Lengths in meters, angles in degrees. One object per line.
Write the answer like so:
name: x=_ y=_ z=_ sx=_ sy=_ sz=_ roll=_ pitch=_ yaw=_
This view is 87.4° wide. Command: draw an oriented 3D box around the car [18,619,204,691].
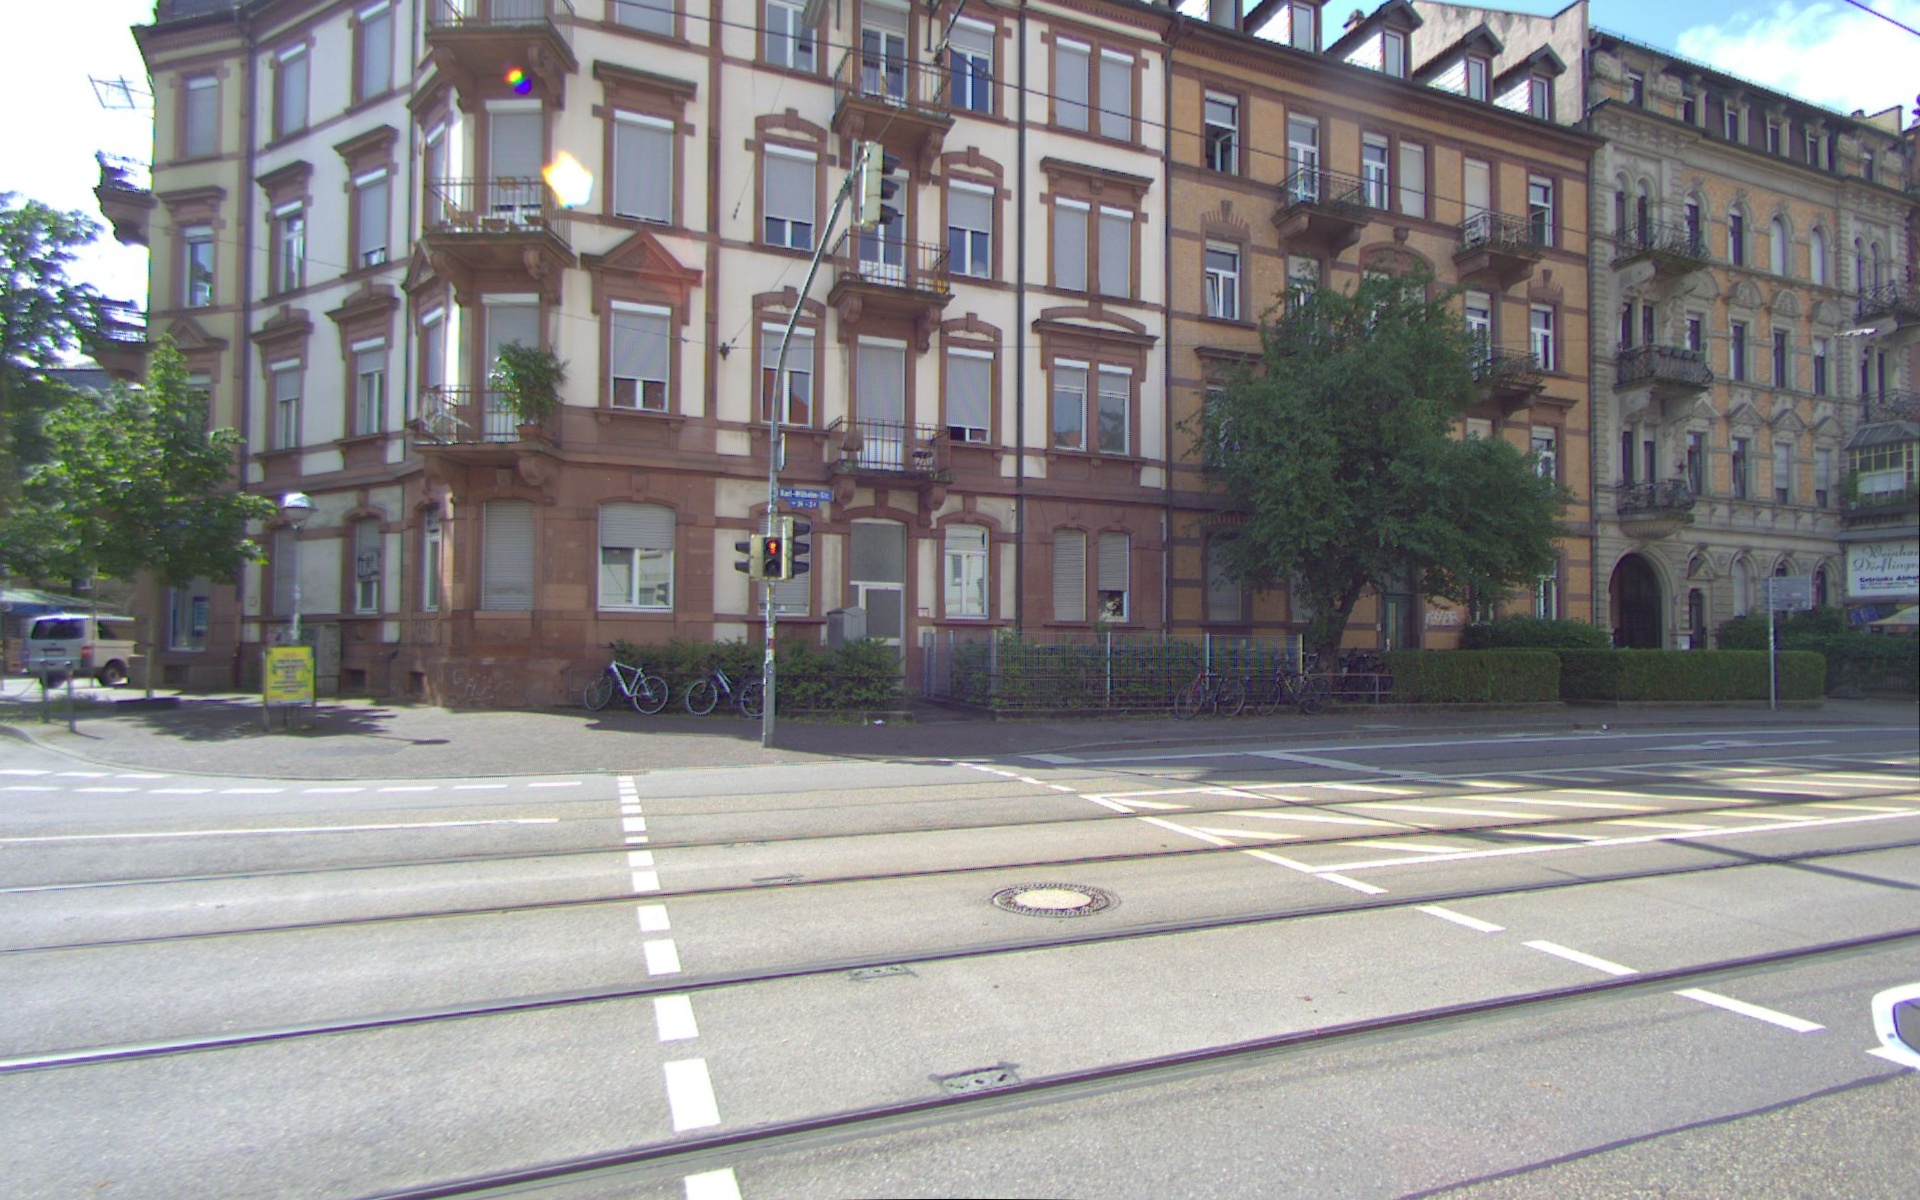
car: x=-24.389 y=1.568 z=29.106 sx=1.962 sy=1.932 sz=4.264 roll=0 pitch=-3 yaw=-5

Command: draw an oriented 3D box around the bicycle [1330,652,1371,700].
bicycle: x=9.586 y=1.856 z=24.679 sx=0.487 sy=1.146 sz=1.309 roll=0 pitch=-2 yaw=0

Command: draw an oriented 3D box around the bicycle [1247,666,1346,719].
bicycle: x=6.306 y=1.725 z=18.826 sx=1.797 sy=0.944 sz=0.558 roll=1 pitch=-3 yaw=-19

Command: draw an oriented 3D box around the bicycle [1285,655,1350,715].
bicycle: x=7.125 y=1.674 z=20.069 sx=0.490 sy=1.146 sz=1.302 roll=1 pitch=-3 yaw=-22

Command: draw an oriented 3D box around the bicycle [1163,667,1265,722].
bicycle: x=4.606 y=1.705 z=18.224 sx=1.797 sy=0.944 sz=0.558 roll=1 pitch=-3 yaw=-19

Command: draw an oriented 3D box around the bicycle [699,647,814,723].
bicycle: x=-3.476 y=1.438 z=17.164 sx=1.915 sy=1.241 sz=0.483 roll=0 pitch=-2 yaw=17

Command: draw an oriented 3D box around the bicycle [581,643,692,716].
bicycle: x=-5.733 y=1.396 z=17.786 sx=1.915 sy=1.241 sz=0.483 roll=0 pitch=-2 yaw=17
